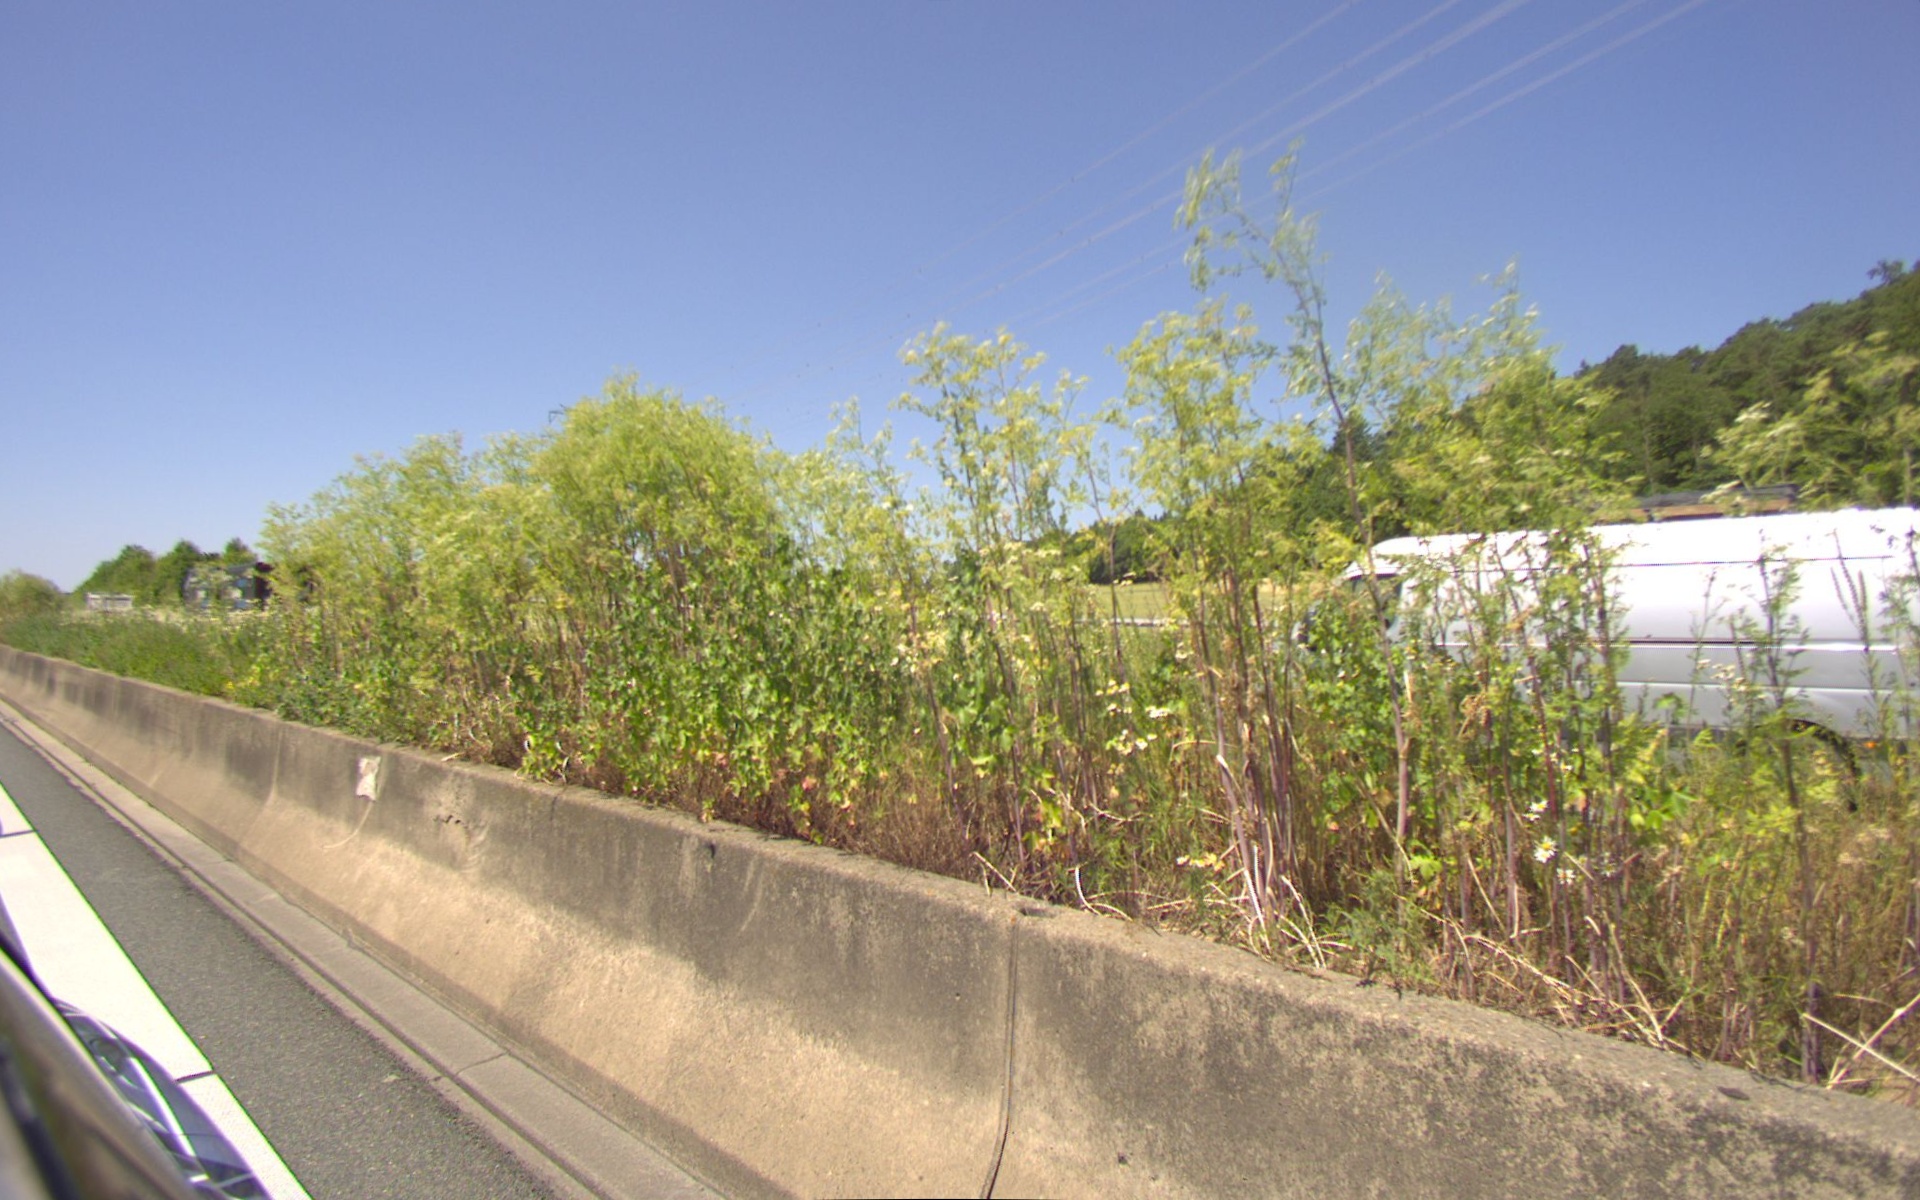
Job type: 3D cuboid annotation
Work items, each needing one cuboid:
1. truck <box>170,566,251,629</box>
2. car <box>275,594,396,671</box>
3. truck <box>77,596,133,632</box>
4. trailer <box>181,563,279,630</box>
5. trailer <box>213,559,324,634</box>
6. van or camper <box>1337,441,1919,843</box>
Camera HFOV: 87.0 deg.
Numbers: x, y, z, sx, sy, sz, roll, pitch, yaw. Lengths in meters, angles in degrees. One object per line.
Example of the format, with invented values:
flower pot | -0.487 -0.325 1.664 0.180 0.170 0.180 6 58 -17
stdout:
truck | -46.877 -0.088 63.271 5.461 3.738 3.039 -1 -1 42
car | -15.478 0.780 25.022 3.687 1.767 1.564 -1 -1 42
truck | -81.479 1.322 96.349 11.820 3.313 2.734 -1 -1 43
trailer | -43.600 -0.137 60.347 7.867 3.787 3.091 -1 -1 42
trailer | -37.680 -0.102 55.011 8.198 3.790 3.149 -1 -2 42
van or camper | 6.158 0.334 9.288 4.648 2.882 2.026 -1 -1 42
